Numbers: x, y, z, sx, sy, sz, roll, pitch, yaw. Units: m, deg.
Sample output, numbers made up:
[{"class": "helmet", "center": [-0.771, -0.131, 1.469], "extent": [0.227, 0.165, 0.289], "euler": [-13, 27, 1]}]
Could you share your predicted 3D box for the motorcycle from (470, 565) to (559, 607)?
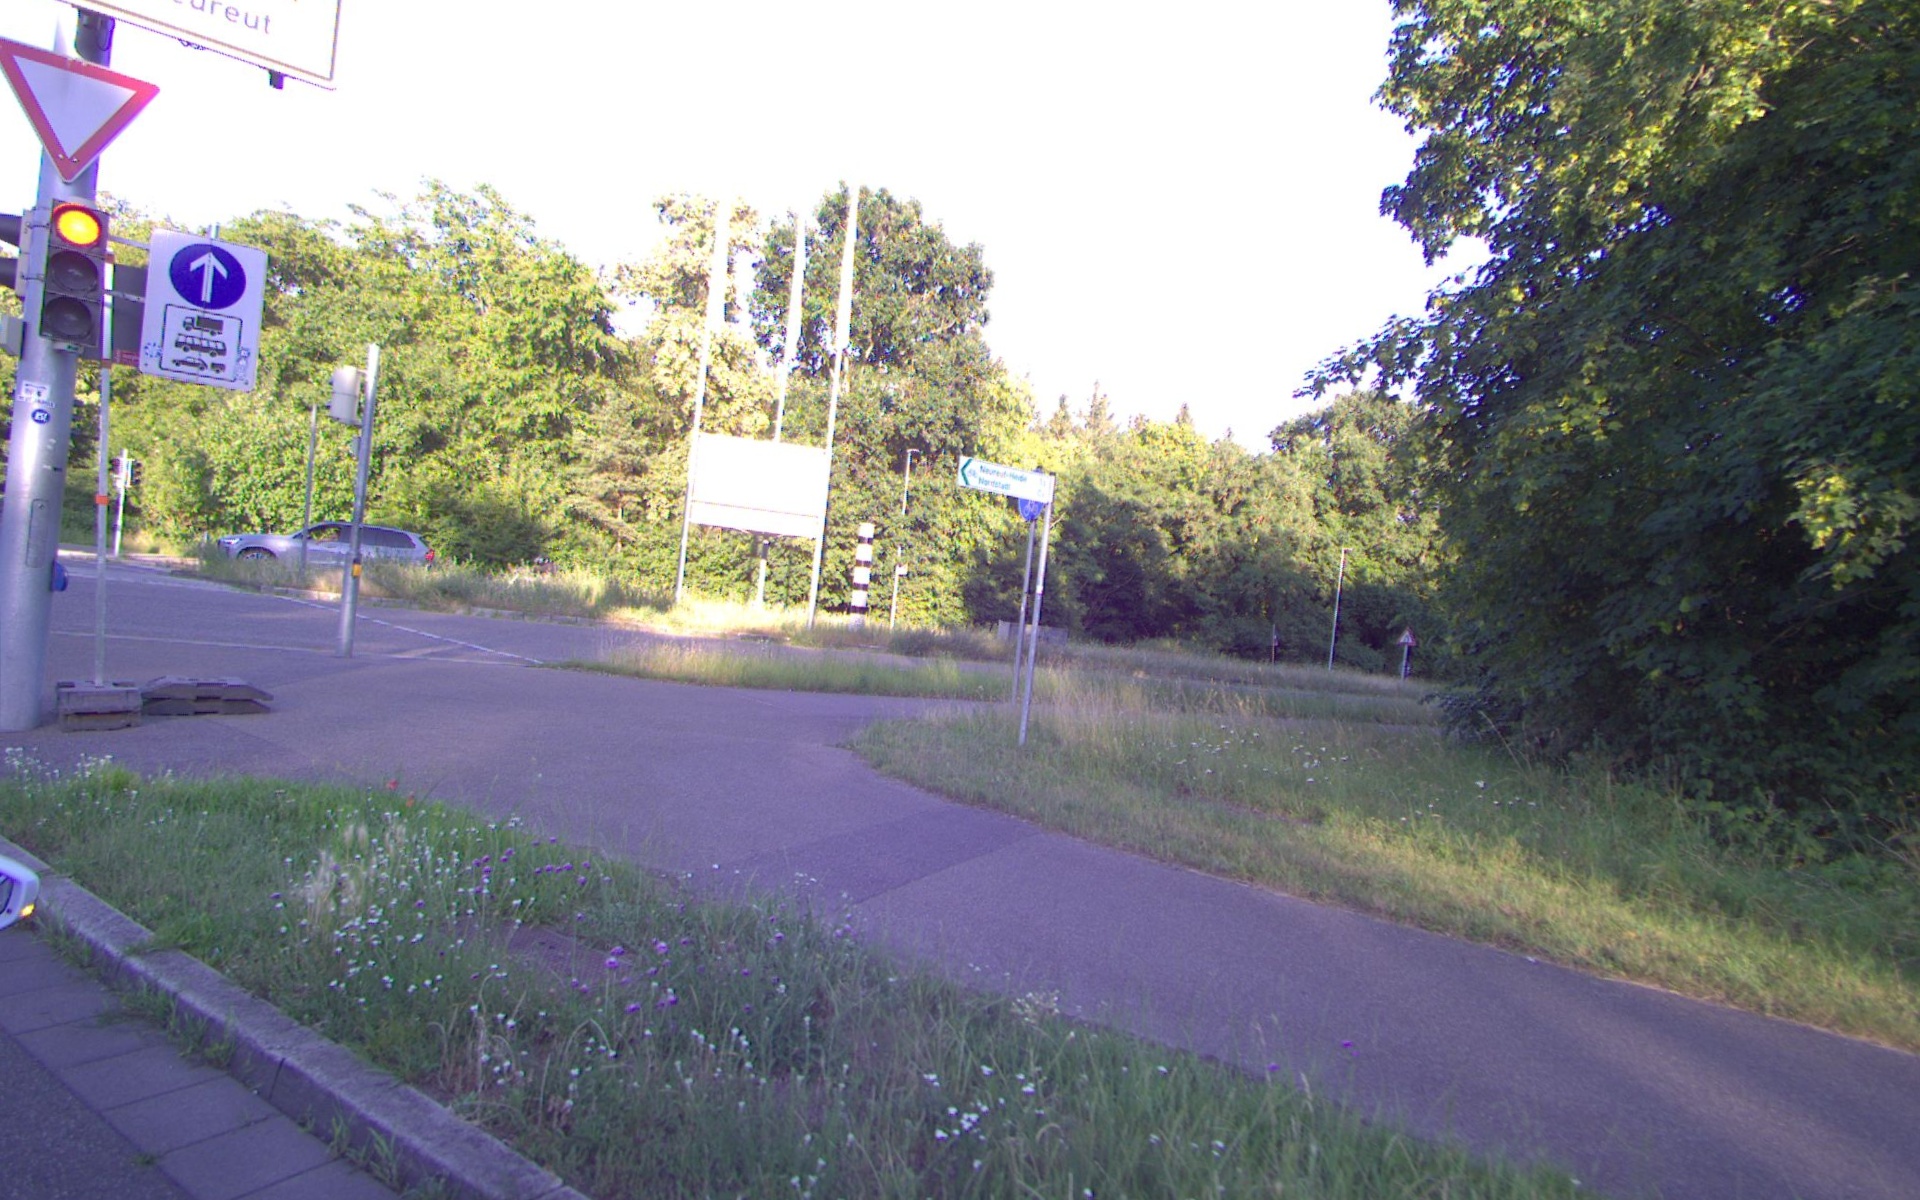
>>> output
[{"class": "motorcycle", "center": [-12.529, -0.378, 28.317], "extent": [2.133, 0.921, 0.656], "euler": [7, 0, -37]}]

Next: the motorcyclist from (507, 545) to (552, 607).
[{"class": "motorcyclist", "center": [-12.208, -0.682, 28.522], "extent": [0.881, 1.614, 0.648], "euler": [6, 0, -37]}]

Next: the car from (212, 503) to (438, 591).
[{"class": "car", "center": [-16.655, -1.349, 26.530], "extent": [4.790, 1.618, 1.980], "euler": [7, 0, -37]}]
